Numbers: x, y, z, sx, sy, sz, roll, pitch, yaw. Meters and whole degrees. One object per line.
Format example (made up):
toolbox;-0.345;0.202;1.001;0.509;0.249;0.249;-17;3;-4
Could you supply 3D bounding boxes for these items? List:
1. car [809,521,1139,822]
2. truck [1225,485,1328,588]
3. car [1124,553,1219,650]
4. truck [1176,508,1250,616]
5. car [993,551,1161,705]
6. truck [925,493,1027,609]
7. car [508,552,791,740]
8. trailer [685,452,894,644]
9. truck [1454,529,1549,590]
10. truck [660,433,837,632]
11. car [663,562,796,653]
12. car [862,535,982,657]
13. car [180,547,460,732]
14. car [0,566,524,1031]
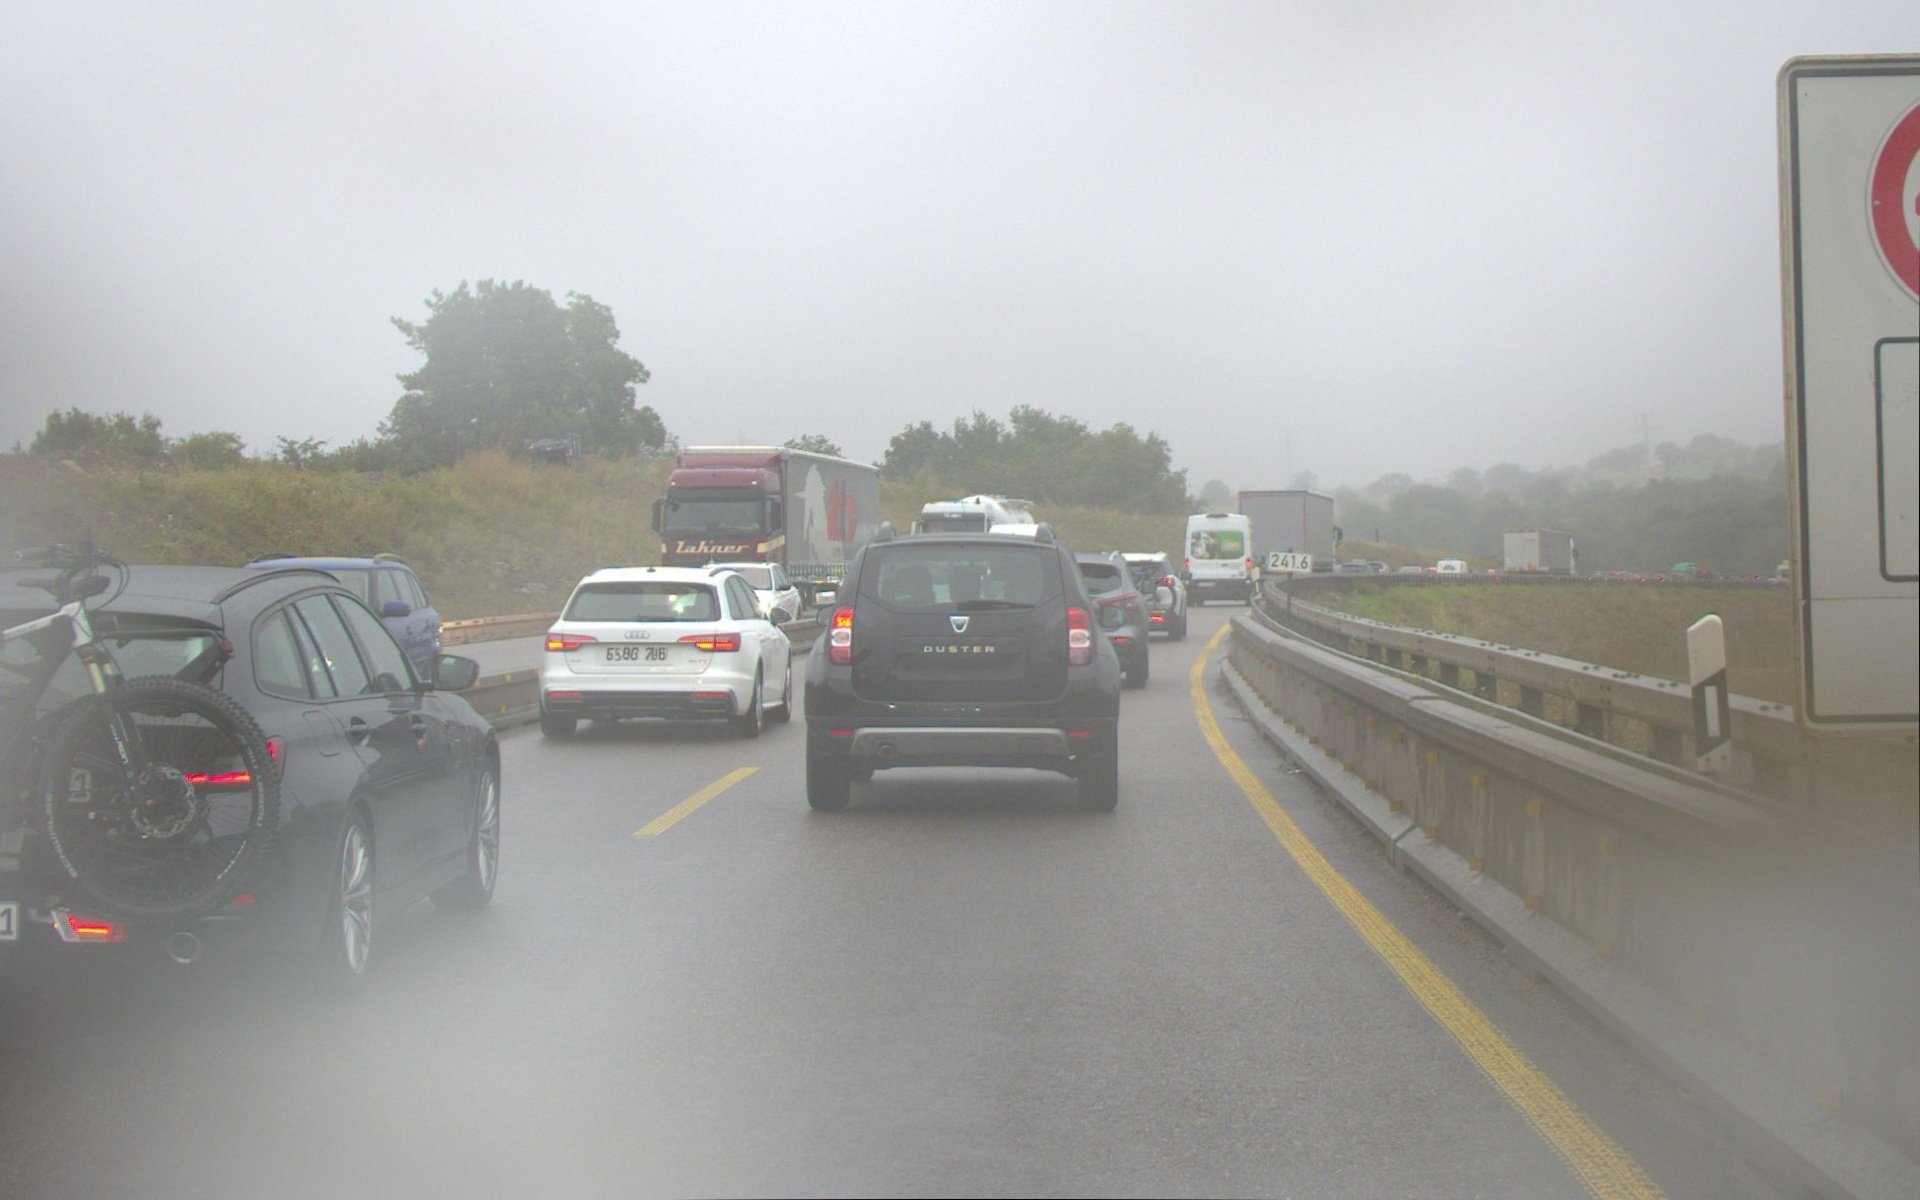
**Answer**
car;0.028;0.384;20.790;1.804;1.640;3.776;0;0;-2
truck;12.082;-2.377;130.701;3.202;3.748;8.506;1;1;10
car;3.780;0.005;61.017;1.531;1.635;4.012;1;1;6
truck;7.761;-1.167;105.043;2.149;3.155;6.458;1;1;5
car;1.376;0.291;40.554;1.868;1.703;4.000;0;1;2
truck;0.598;-1.711;121.001;3.231;3.942;5.881;-1;0;3
car;-2.553;0.332;29.294;1.867;1.455;4.548;1;1;2
trailer;-4.152;-1.378;88.534;2.996;4.406;15.700;-2;1;6
truck;38.489;-2.881;243.654;4.721;4.135;15.670;1;1;16
truck;-4.902;-1.590;81.001;2.980;4.394;6.930;-2;1;5
car;-3.928;0.097;59.301;1.744;1.497;4.634;1;1;3
car;-0.581;-0.085;55.471;1.660;1.873;4.019;1;1;3
car;-5.518;0.303;30.059;1.649;1.497;3.829;1;1;1
car;-2.835;0.624;12.808;1.829;1.471;3.776;0;0;2
